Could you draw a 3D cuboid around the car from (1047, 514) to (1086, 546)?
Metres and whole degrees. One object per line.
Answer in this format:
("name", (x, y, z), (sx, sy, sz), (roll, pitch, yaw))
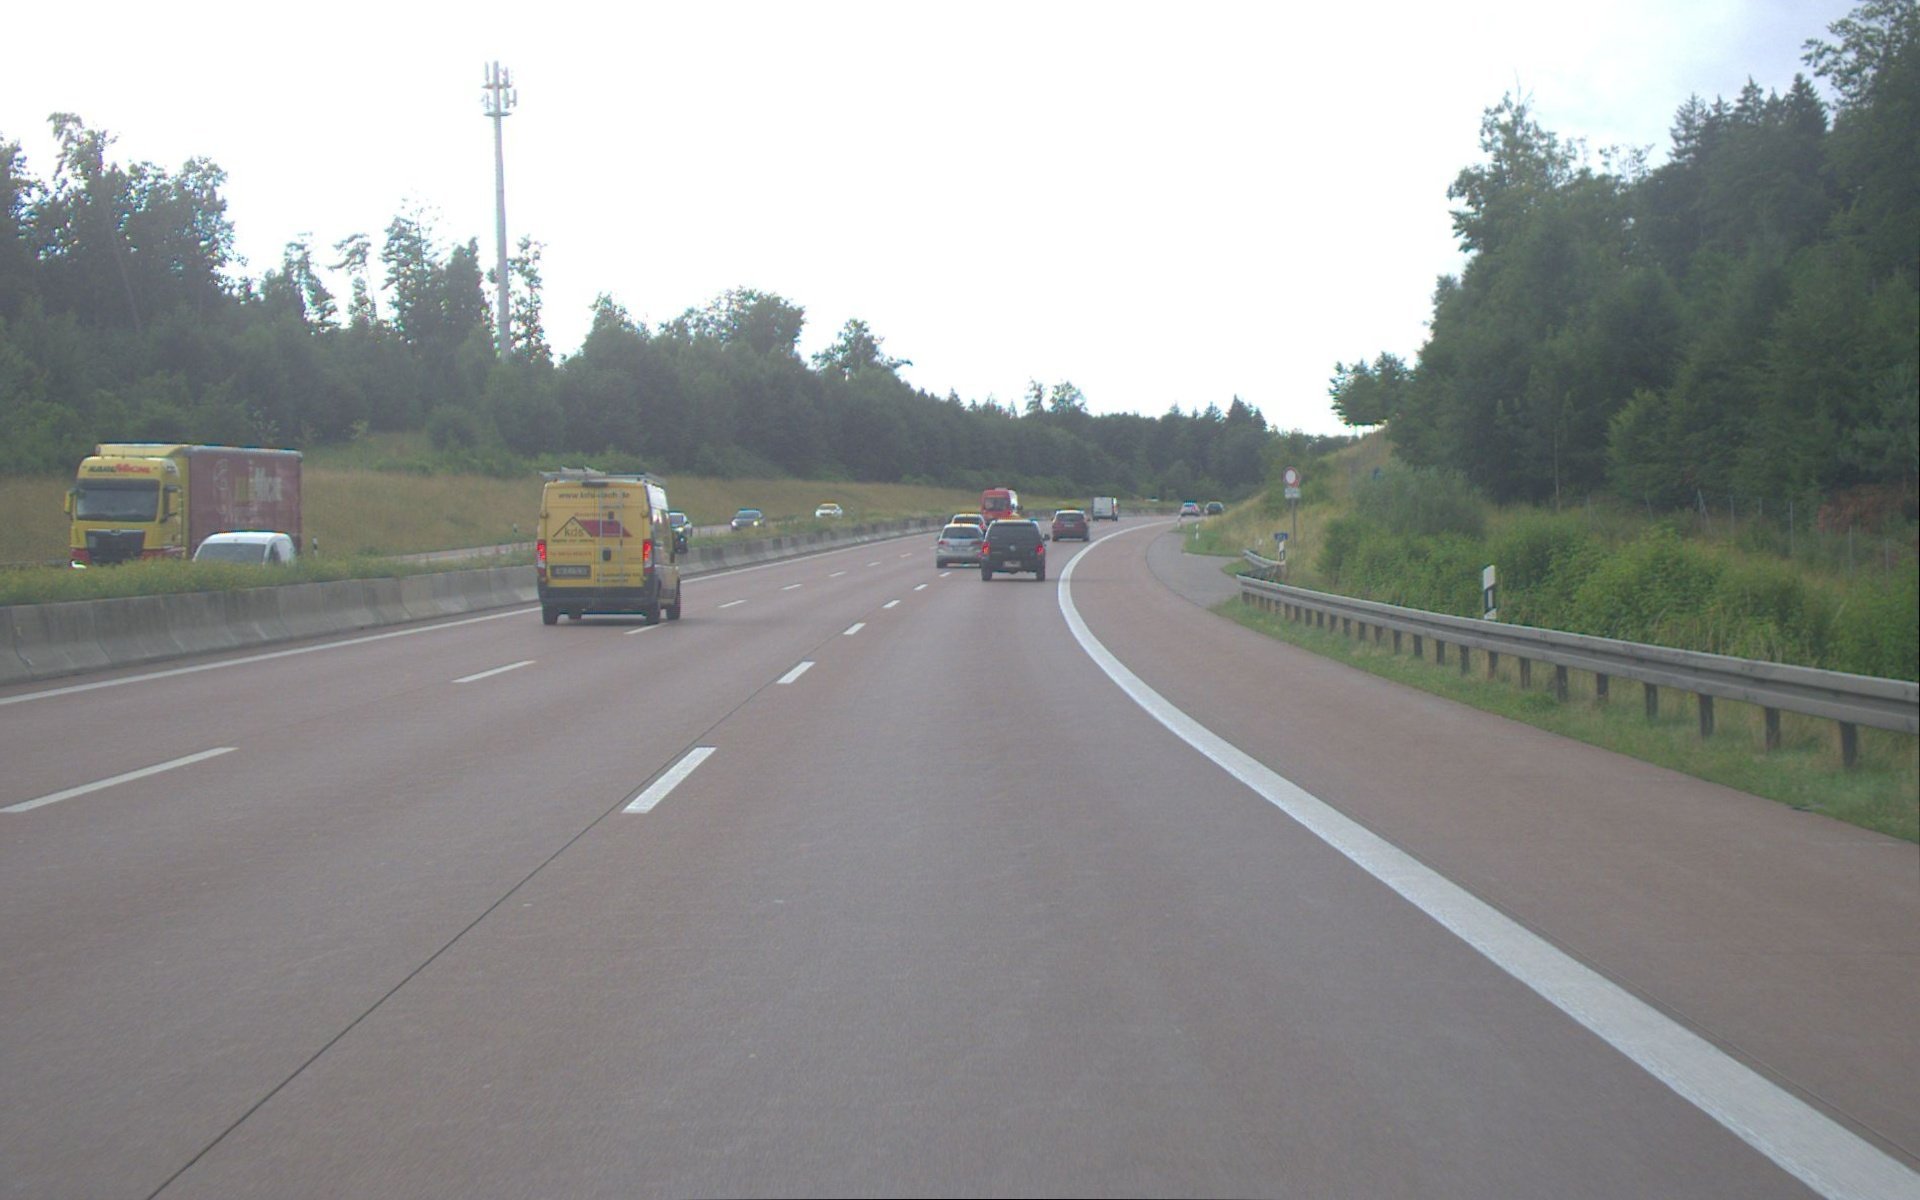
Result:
("car", (5.629, -3.687, 182.208), (1.977, 1.642, 4.619), (-1, 0, 1))

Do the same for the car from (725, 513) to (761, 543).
("car", (-13.269, -4.413, 210.403), (1.807, 1.809, 4.000), (0, 2, 2))

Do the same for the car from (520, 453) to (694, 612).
("car", (-6.249, -1.173, 61.549), (2.458, 2.697, 5.613), (-1, 0, 1))

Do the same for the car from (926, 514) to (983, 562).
("car", (-0.207, -2.204, 123.382), (1.977, 1.642, 4.619), (-1, 0, 0))

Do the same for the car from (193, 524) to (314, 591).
("car", (-15.104, -0.928, 73.652), (1.740, 1.398, 4.031), (0, 1, 0))

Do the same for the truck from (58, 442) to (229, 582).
("truck", (-21.858, -2.304, 92.316), (3.012, 3.570, 6.057), (1, 0, 1))

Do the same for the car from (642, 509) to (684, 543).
("car", (-15.248, -3.780, 176.529), (1.762, 1.632, 4.380), (1, 0, 0))

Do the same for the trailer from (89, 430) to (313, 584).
("trailer", (-21.723, -2.531, 99.454), (3.033, 4.028, 14.531), (1, 0, 1))

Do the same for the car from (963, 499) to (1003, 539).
("car", (1.432, -5.046, 214.479), (2.241, 2.422, 6.204), (-1, 1, 3))

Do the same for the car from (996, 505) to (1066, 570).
("car", (2.111, -1.862, 103.477), (2.044, 1.890, 5.577), (-1, 0, 1))
